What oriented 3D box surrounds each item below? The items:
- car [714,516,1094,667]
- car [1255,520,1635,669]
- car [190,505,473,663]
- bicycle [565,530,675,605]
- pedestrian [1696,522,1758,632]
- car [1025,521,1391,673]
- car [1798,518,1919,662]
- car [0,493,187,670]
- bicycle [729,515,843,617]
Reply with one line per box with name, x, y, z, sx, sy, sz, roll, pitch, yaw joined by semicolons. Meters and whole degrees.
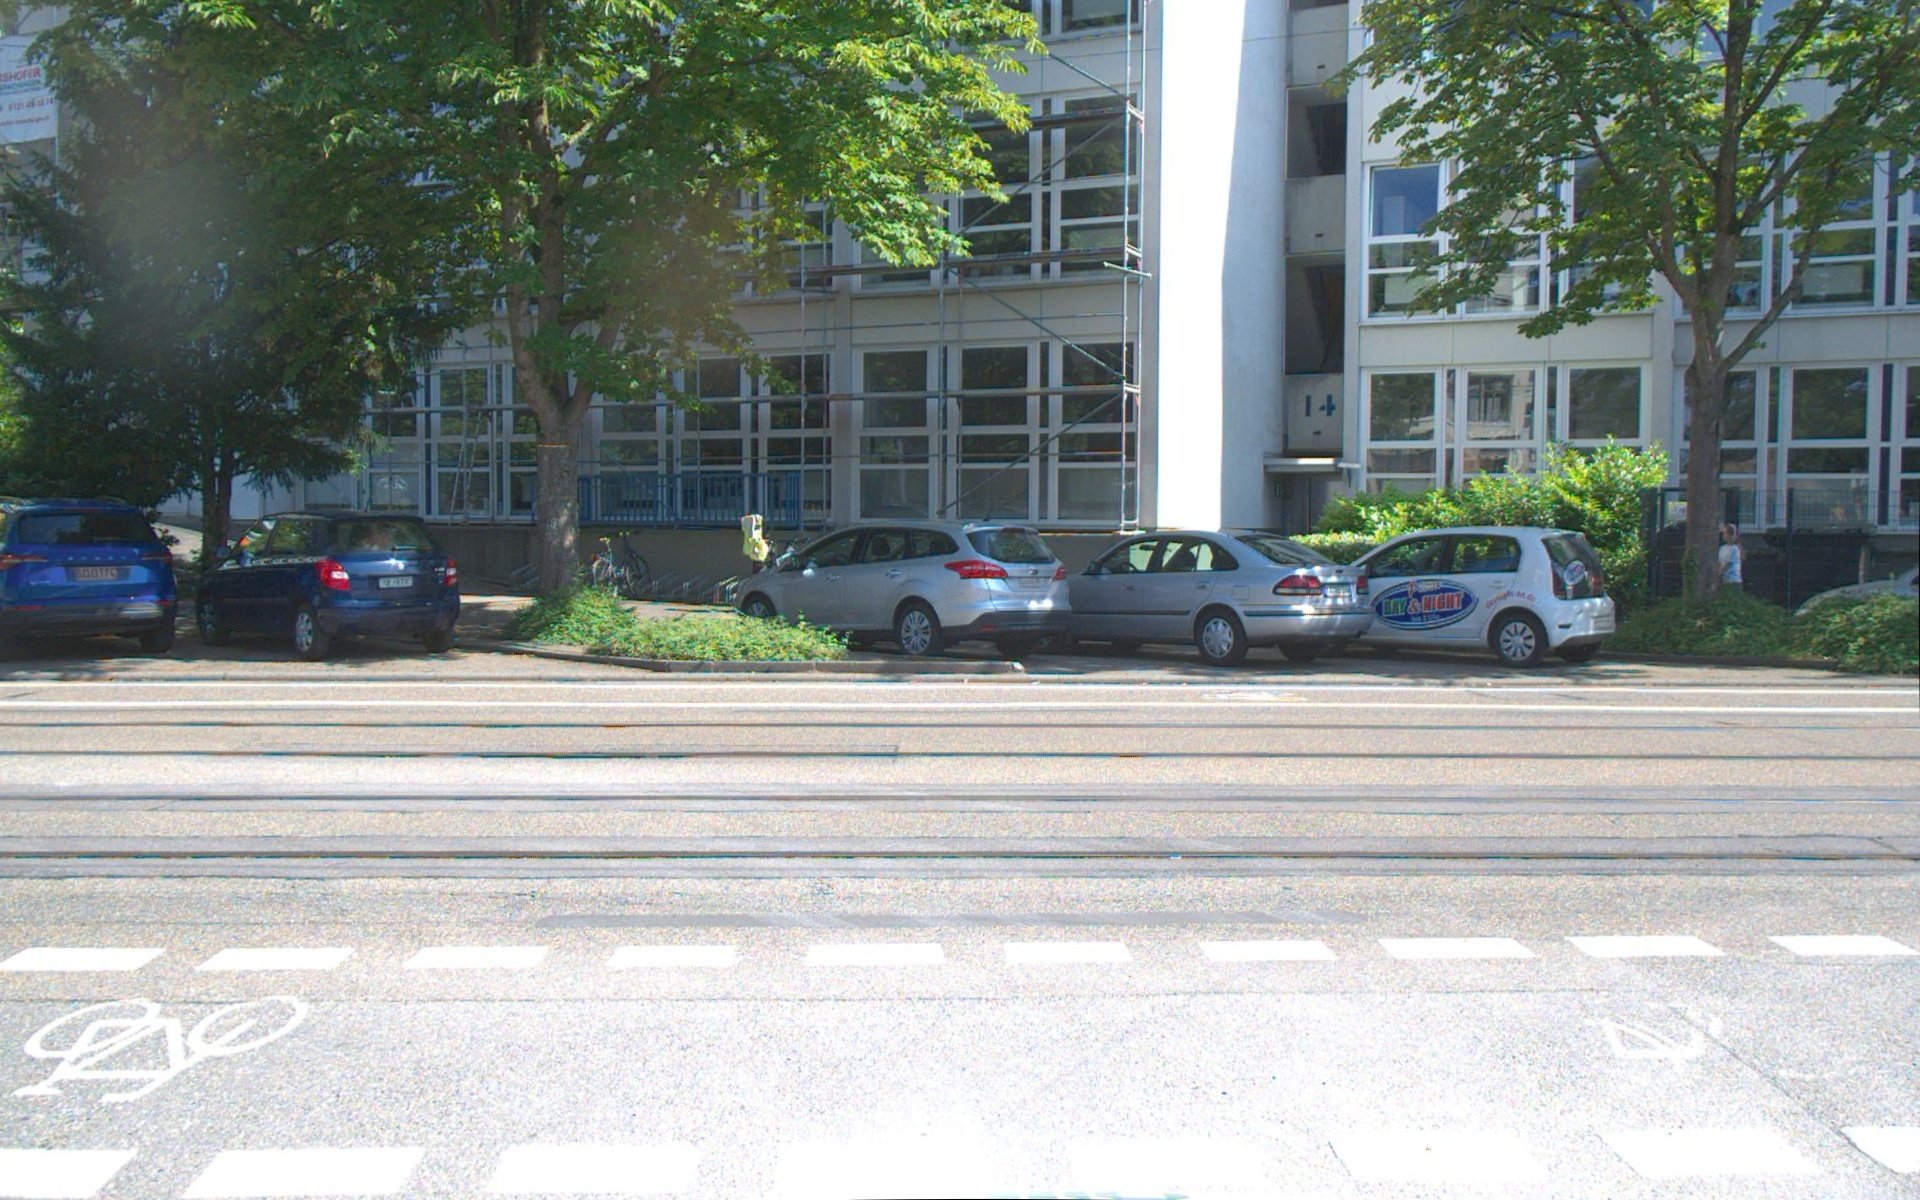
car;-0.730;-0.185;18.687;4.359;1.511;1.773;3;3;43
car;5.410;-0.114;18.767;3.879;1.512;1.602;1;3;45
car;-6.892;-0.241;18.011;3.399;1.557;1.566;3;3;43
bicycle;-5.308;-0.536;25.969;0.725;1.104;2.205;1;3;17
pedestrian;10.411;-0.319;22.459;0.608;1.486;0.424;0;2;-4
car;2.669;-0.121;18.448;1.601;1.511;3.881;-2;3;-44
car;12.095;-0.103;18.885;4.265;1.632;1.550;2;2;41
car;-9.922;-0.302;17.888;1.766;1.650;3.886;-3;5;-42
bicycle;-2.613;-0.537;25.126;0.649;1.478;2.087;2;3;29
